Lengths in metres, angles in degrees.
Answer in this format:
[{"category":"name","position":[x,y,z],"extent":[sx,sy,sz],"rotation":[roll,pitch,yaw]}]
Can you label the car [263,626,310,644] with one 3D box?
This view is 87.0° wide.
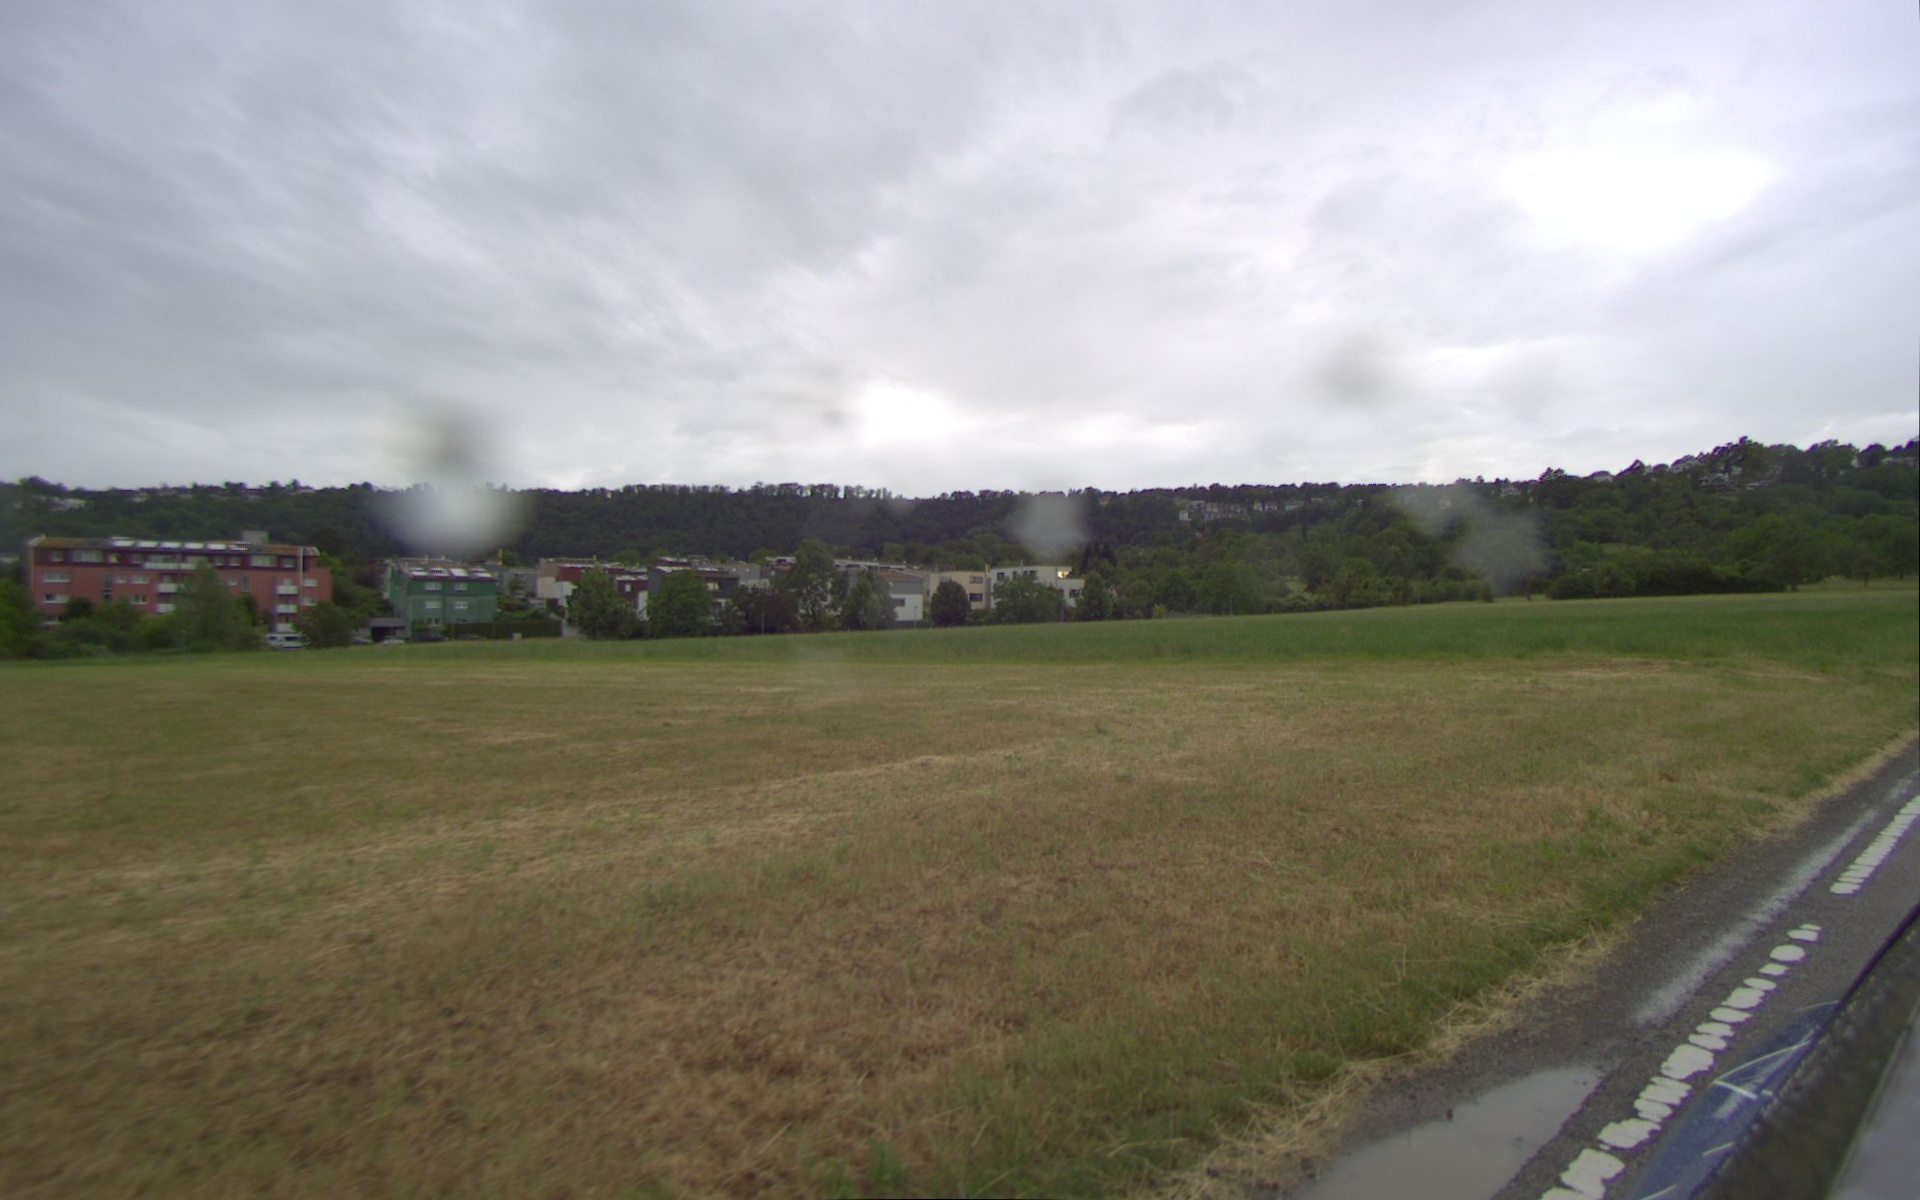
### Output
[{"category":"car","position":[-91.475,4.721,137.586],"extent":[5.178,2.039,2.001],"rotation":[-2,1,-32]}]
